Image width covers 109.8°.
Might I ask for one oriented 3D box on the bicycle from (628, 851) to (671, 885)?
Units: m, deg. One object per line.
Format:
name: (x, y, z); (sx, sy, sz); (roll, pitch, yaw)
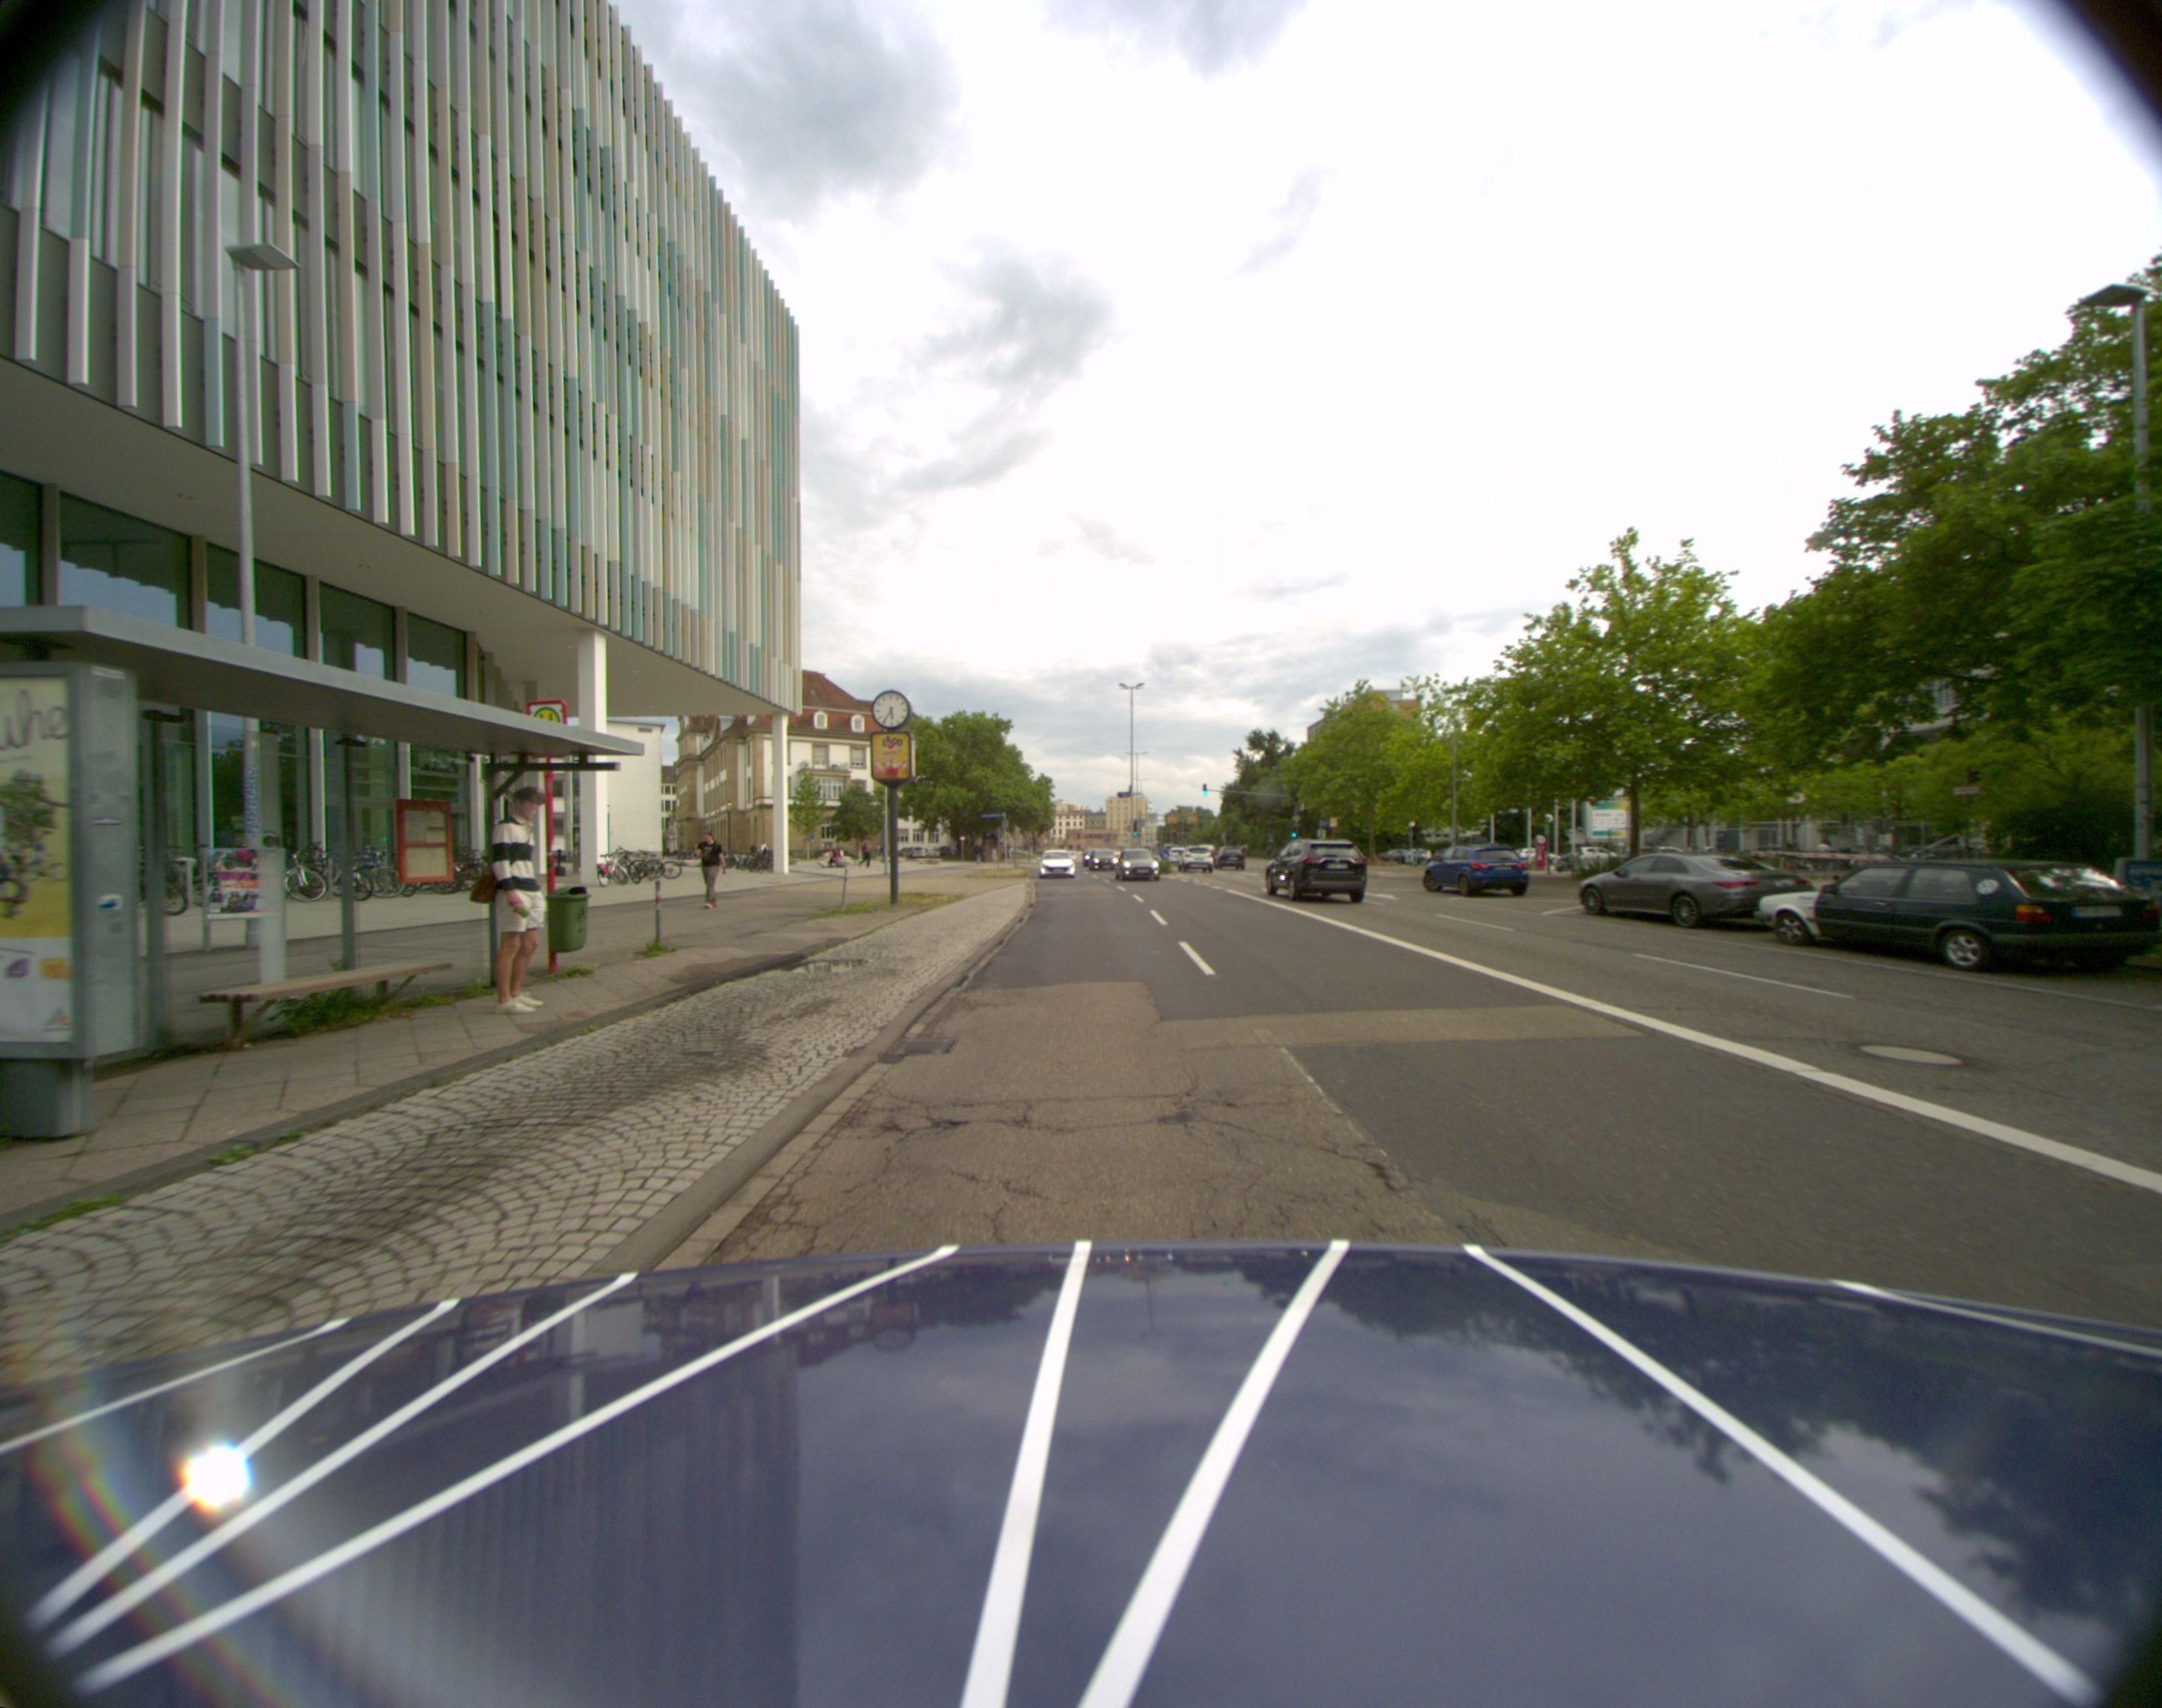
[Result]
bicycle: (-14.560, 0.439, 25.674); (0.610, 1.074, 1.961); (2, 0, -10)

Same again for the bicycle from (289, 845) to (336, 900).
bicycle: (-17.327, 0.394, 17.108); (1.981, 1.138, 0.650); (2, 1, 42)

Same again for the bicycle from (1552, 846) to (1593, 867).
bicycle: (27.083, 0.118, 41.893); (2.037, 1.147, 0.720); (0, 1, -16)

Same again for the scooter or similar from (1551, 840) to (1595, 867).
scooter or similar: (22.120, -0.028, 34.175); (1.578, 1.237, 0.566); (0, 1, 1)

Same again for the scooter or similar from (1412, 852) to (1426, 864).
scooter or similar: (21.206, 0.262, 47.680); (0.407, 0.689, 1.289); (-2, 1, 4)

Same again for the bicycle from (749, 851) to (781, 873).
bicycle: (-15.770, 0.376, 37.966); (0.640, 1.055, 1.841); (-2, 1, 6)

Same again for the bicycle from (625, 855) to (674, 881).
bicycle: (-15.660, 0.511, 27.574); (1.491, 0.924, 0.439); (0, -1, -38)

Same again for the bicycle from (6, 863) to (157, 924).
bicycle: (-15.214, 0.593, 11.589); (1.610, 0.870, 0.556); (1, 1, 2)

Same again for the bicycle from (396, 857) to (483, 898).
bicycle: (-15.299, 0.555, 18.131); (1.610, 0.870, 0.556); (2, 1, 2)

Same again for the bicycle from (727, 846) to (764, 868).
bicycle: (-20.826, 0.213, 47.184); (2.010, 1.298, 0.644); (1, -1, -20)

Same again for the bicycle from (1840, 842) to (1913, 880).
bicycle: (33.407, 0.297, 31.922); (2.406, 1.585, 0.721); (0, 1, -3)

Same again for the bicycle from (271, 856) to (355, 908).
bicycle: (-15.814, 0.567, 15.657); (1.245, 1.002, 0.550); (1, 1, 6)

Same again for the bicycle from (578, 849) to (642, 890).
bicycle: (-14.125, 0.439, 22.858); (0.637, 1.134, 2.200); (2, 1, -3)

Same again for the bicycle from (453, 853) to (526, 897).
bicycle: (-15.012, 0.523, 19.291); (1.403, 1.037, 0.559); (2, 1, 2)

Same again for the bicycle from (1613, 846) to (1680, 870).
bicycle: (27.280, 0.187, 36.696); (2.754, 1.168, 0.721); (0, 1, -2)

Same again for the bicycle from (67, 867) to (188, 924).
bicycle: (-15.515, 0.665, 12.383); (1.286, 0.870, 0.556); (1, 1, 2)

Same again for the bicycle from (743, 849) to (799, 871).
bicycle: (-16.921, 0.301, 41.543); (2.725, 1.181, 0.772); (0, 1, -40)

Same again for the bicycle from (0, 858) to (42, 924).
bicycle: (-16.241, 0.529, 11.085); (1.694, 0.941, 0.516); (0, 1, 8)

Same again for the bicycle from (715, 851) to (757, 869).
bicycle: (-20.399, 0.357, 44.881); (2.195, 1.000, 0.780); (-1, 1, -29)

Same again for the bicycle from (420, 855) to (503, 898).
bicycle: (-15.255, 0.544, 18.728); (1.610, 0.977, 0.556); (2, 1, 2)

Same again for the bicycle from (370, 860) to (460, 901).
bicycle: (-15.394, 0.609, 17.572); (1.610, 0.870, 0.556); (2, 1, 3)

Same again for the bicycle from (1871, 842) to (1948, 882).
bicycle: (33.531, 0.303, 30.755); (2.406, 1.585, 0.721); (0, 1, -3)

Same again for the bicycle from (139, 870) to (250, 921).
bicycle: (-15.970, 0.743, 13.700); (1.610, 0.891, 0.366); (0, 1, 2)

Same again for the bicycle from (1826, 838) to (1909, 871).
bicycle: (38.125, 0.028, 36.881); (2.661, 1.550, 0.924); (0, 1, 18)

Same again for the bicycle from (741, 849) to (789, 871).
bicycle: (-16.685, 0.312, 40.135); (2.187, 1.109, 0.734); (-1, 1, -42)

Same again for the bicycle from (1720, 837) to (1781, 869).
bicycle: (33.579, -0.065, 38.102); (2.452, 1.550, 0.922); (0, 1, -9)

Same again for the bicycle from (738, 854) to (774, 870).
bicycle: (-18.924, 0.439, 44.249); (0.670, 0.893, 1.850); (1, 1, 43)

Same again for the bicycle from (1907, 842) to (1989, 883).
bicycle: (33.364, 0.321, 29.250); (2.406, 1.585, 0.721); (0, 1, -3)

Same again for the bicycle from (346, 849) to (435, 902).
bicycle: (-15.573, 0.467, 17.150); (1.647, 1.085, 0.572); (3, 1, 10)

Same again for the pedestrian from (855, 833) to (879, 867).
pedestrian: (-13.300, -0.217, 47.219); (1.186, 2.050, 1.133); (-3, 1, -26)

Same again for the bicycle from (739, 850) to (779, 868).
bicycle: (-18.437, 0.282, 43.521); (1.964, 0.996, 0.772); (-1, 1, -40)

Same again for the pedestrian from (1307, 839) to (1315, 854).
pedestrian: (25.097, -0.784, 82.907); (0.503, 1.597, 0.601); (-3, 2, -10)

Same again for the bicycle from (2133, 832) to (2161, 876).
bicycle: (39.604, -0.005, 26.934); (2.661, 1.550, 0.924); (0, 1, 18)

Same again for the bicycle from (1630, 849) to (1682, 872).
bicycle: (33.120, 0.374, 43.775); (2.491, 1.346, 0.721); (0, 1, -3)

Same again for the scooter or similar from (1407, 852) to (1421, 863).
scooter or similar: (21.573, 0.235, 49.245); (0.407, 0.689, 1.289); (-2, 1, 4)
